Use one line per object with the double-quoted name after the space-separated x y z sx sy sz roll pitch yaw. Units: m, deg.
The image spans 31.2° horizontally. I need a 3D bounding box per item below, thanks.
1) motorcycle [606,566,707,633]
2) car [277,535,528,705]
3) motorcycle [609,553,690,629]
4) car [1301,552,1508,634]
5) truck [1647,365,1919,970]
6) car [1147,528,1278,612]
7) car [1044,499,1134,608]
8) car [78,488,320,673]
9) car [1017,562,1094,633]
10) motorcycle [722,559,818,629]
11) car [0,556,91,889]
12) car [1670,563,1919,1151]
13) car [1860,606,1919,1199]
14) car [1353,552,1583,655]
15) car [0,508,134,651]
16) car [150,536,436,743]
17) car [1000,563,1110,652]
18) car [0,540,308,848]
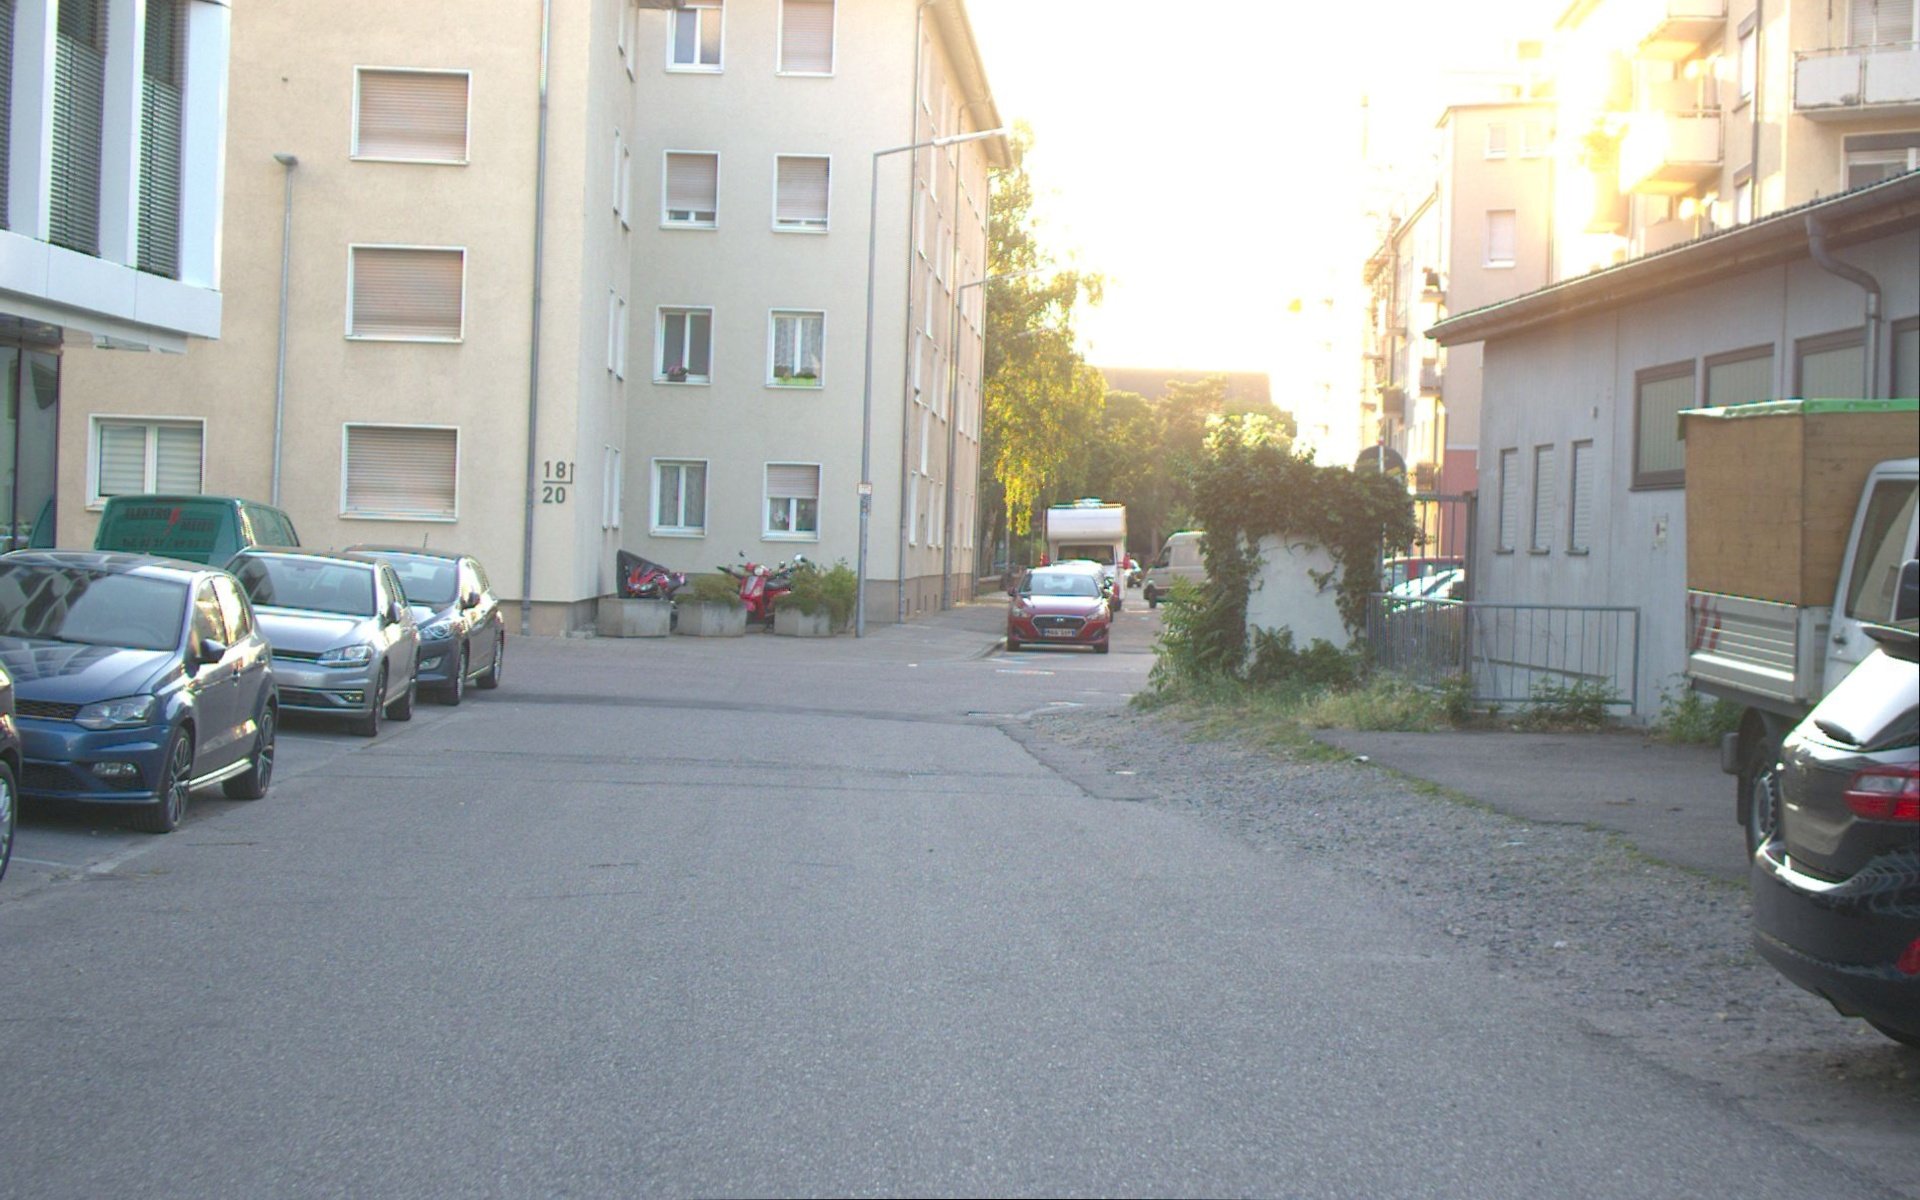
-5.017 -0.005 56.992 0.724 1.075 2.078 2 1 24 "motorcycle"
-5.640 0.160 35.245 1.779 1.474 4.331 5 1 -1 "car"
-5.345 -0.151 59.289 0.724 1.260 2.079 2 1 13 "motorcycle"
10.563 -0.164 81.936 4.722 1.903 2.059 0 0 2 "car"
4.517 0.249 14.159 2.097 2.193 5.711 2 1 -1 "truck"
8.332 -1.000 113.743 2.128 2.708 4.834 0 1 -27 "car"
4.049 -1.438 106.700 2.620 3.258 7.696 0 1 3 "car"
-8.794 -0.277 40.111 1.797 1.973 4.690 2 2 -1 "car"
2.057 -0.073 74.135 1.616 1.468 3.505 0 1 1 "car"
-3.270 -0.100 59.427 0.689 1.156 2.031 2 1 27 "motorcycle"
-4.992 0.498 14.068 1.648 1.434 4.202 5 1 1 "car"
4.193 0.762 10.133 3.759 1.530 1.891 3 2 1 "car"
4.179 0.834 7.687 3.759 1.439 1.845 3 0 -1 "car"
9.953 0.060 67.581 4.280 1.854 1.741 2 0 3 "car"
-11.056 -0.216 40.077 1.779 1.545 4.331 2 -1 0 "car"
-5.574 0.276 29.181 1.710 1.474 4.185 5 1 -3 "car"
1.681 0.103 61.312 1.845 1.468 4.078 2 1 1 "car"
-4.974 0.446 19.729 1.648 1.434 4.185 5 1 -1 "car"
